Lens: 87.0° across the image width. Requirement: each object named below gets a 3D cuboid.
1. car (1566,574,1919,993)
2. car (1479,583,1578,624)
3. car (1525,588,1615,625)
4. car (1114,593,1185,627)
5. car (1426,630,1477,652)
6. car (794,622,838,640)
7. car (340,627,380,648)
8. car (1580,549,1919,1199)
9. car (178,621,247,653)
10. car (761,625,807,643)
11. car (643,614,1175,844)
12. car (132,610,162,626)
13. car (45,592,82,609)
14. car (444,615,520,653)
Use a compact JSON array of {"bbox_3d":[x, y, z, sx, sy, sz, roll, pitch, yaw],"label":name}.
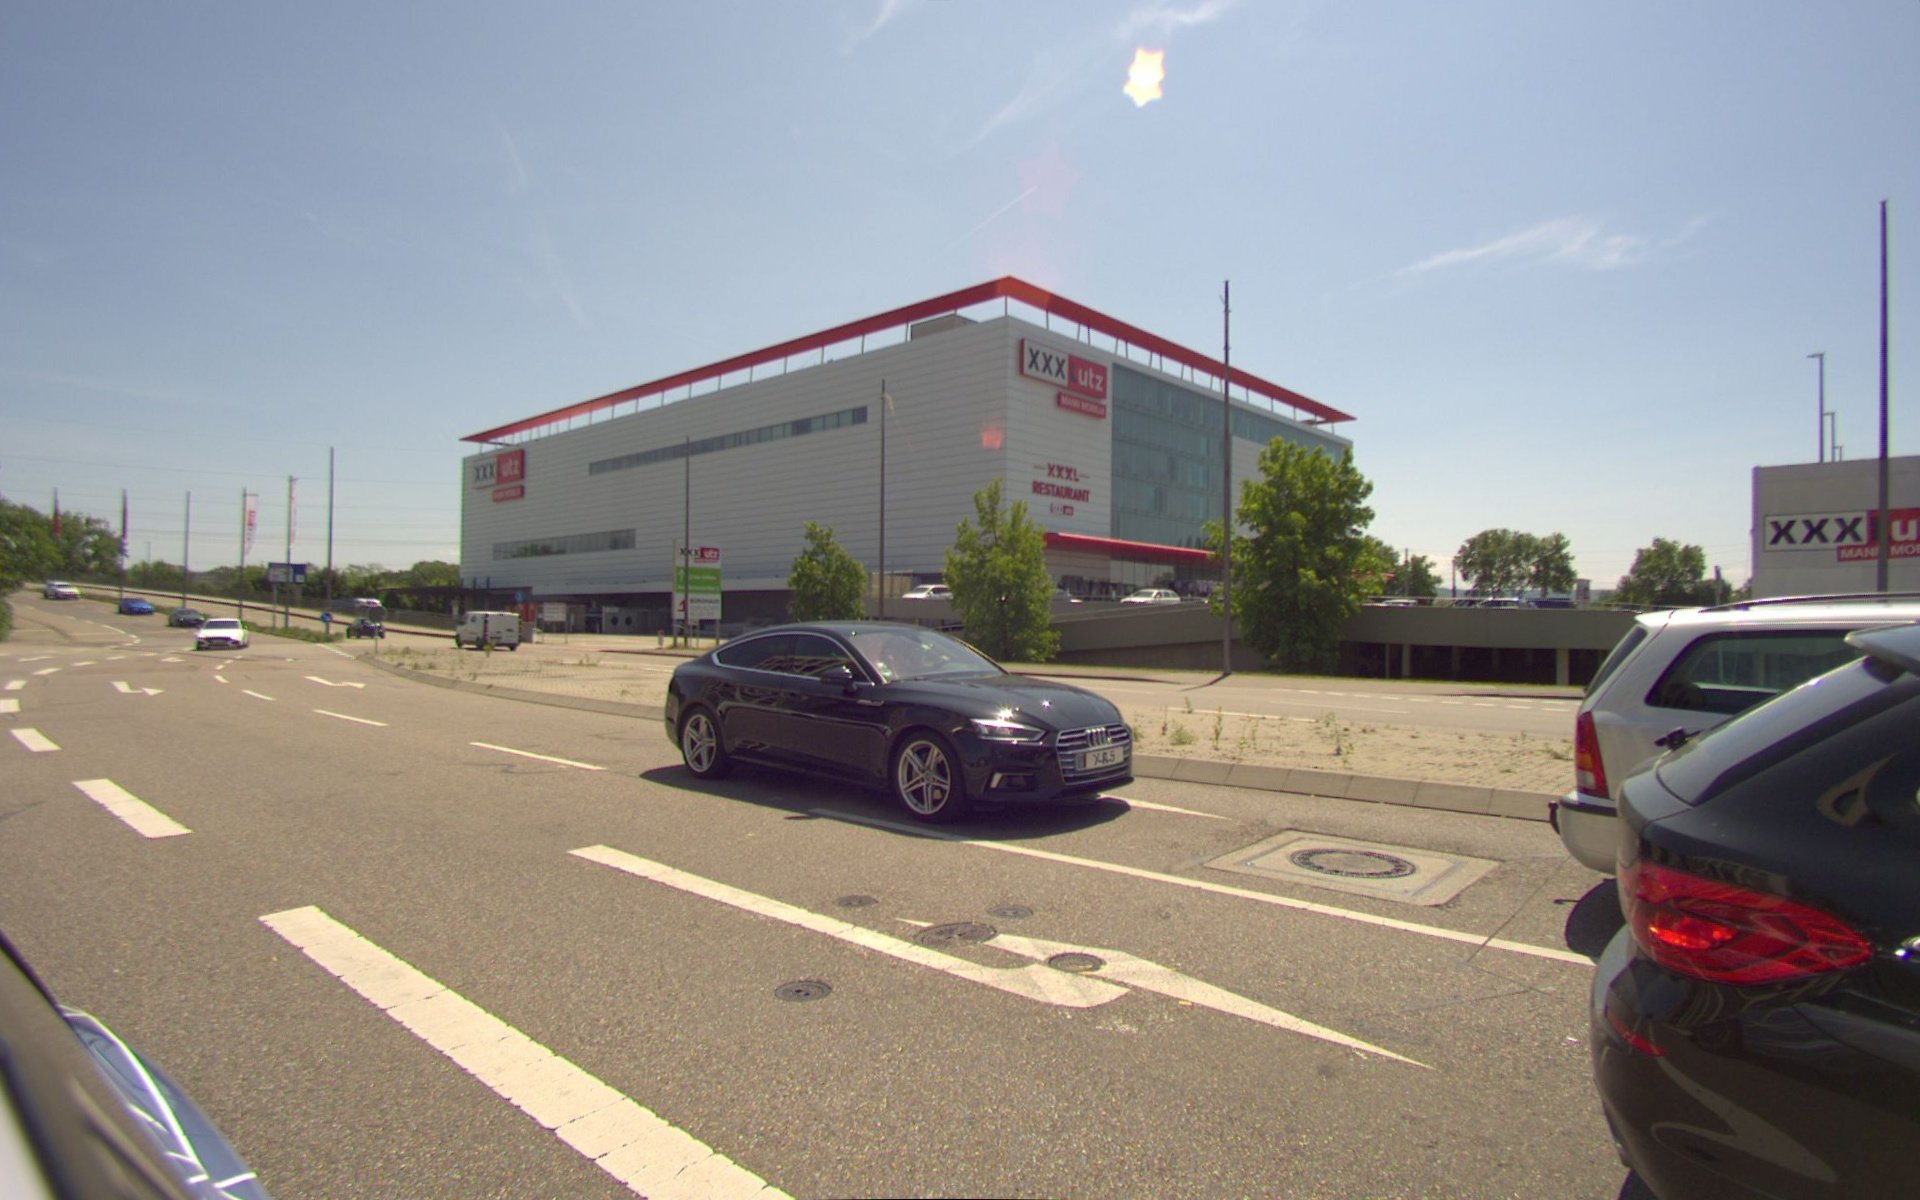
[{"bbox_3d":[4.697,0.656,3.841,3.991,1.505,1.782,-1,-1,35],"label":"car"},{"bbox_3d":[28.253,0.203,50.366,3.998,1.946,1.973,-1,-2,41],"label":"car"},{"bbox_3d":[33.230,0.376,55.189,3.995,1.923,1.974,-1,-2,39],"label":"car"},{"bbox_3d":[10.660,0.603,56.769,2.000,1.781,4.141,-1,-2,43],"label":"car"},{"bbox_3d":[47.519,3.980,97.895,4.002,2.029,1.971,-1,-2,45],"label":"car"},{"bbox_3d":[-12.704,2.773,89.340,1.959,1.507,3.437,0,-2,42],"label":"car"},{"bbox_3d":[-40.837,2.543,68.837,1.832,1.312,3.901,3,-3,-38],"label":"car"},{"bbox_3d":[3.399,0.634,0.919,4.619,1.477,1.782,-1,-1,40],"label":"car"},{"bbox_3d":[-35.617,1.760,48.168,4.227,1.461,1.712,-1,-2,41],"label":"car"},{"bbox_3d":[-16.024,3.113,92.255,1.911,1.632,3.698,0,-2,41],"label":"car"},{"bbox_3d":[-0.666,0.849,8.369,4.532,1.401,1.729,-2,-2,43],"label":"car"},{"bbox_3d":[-74.473,1.666,92.689,1.776,1.424,4.411,0,-1,-43],"label":"car"},{"bbox_3d":[-90.396,0.044,102.078,4.042,1.587,1.663,-1,-1,31],"label":"car"},{"bbox_3d":[-24.542,1.725,51.912,4.840,1.864,1.810,-1,-3,43],"label":"car"}]
